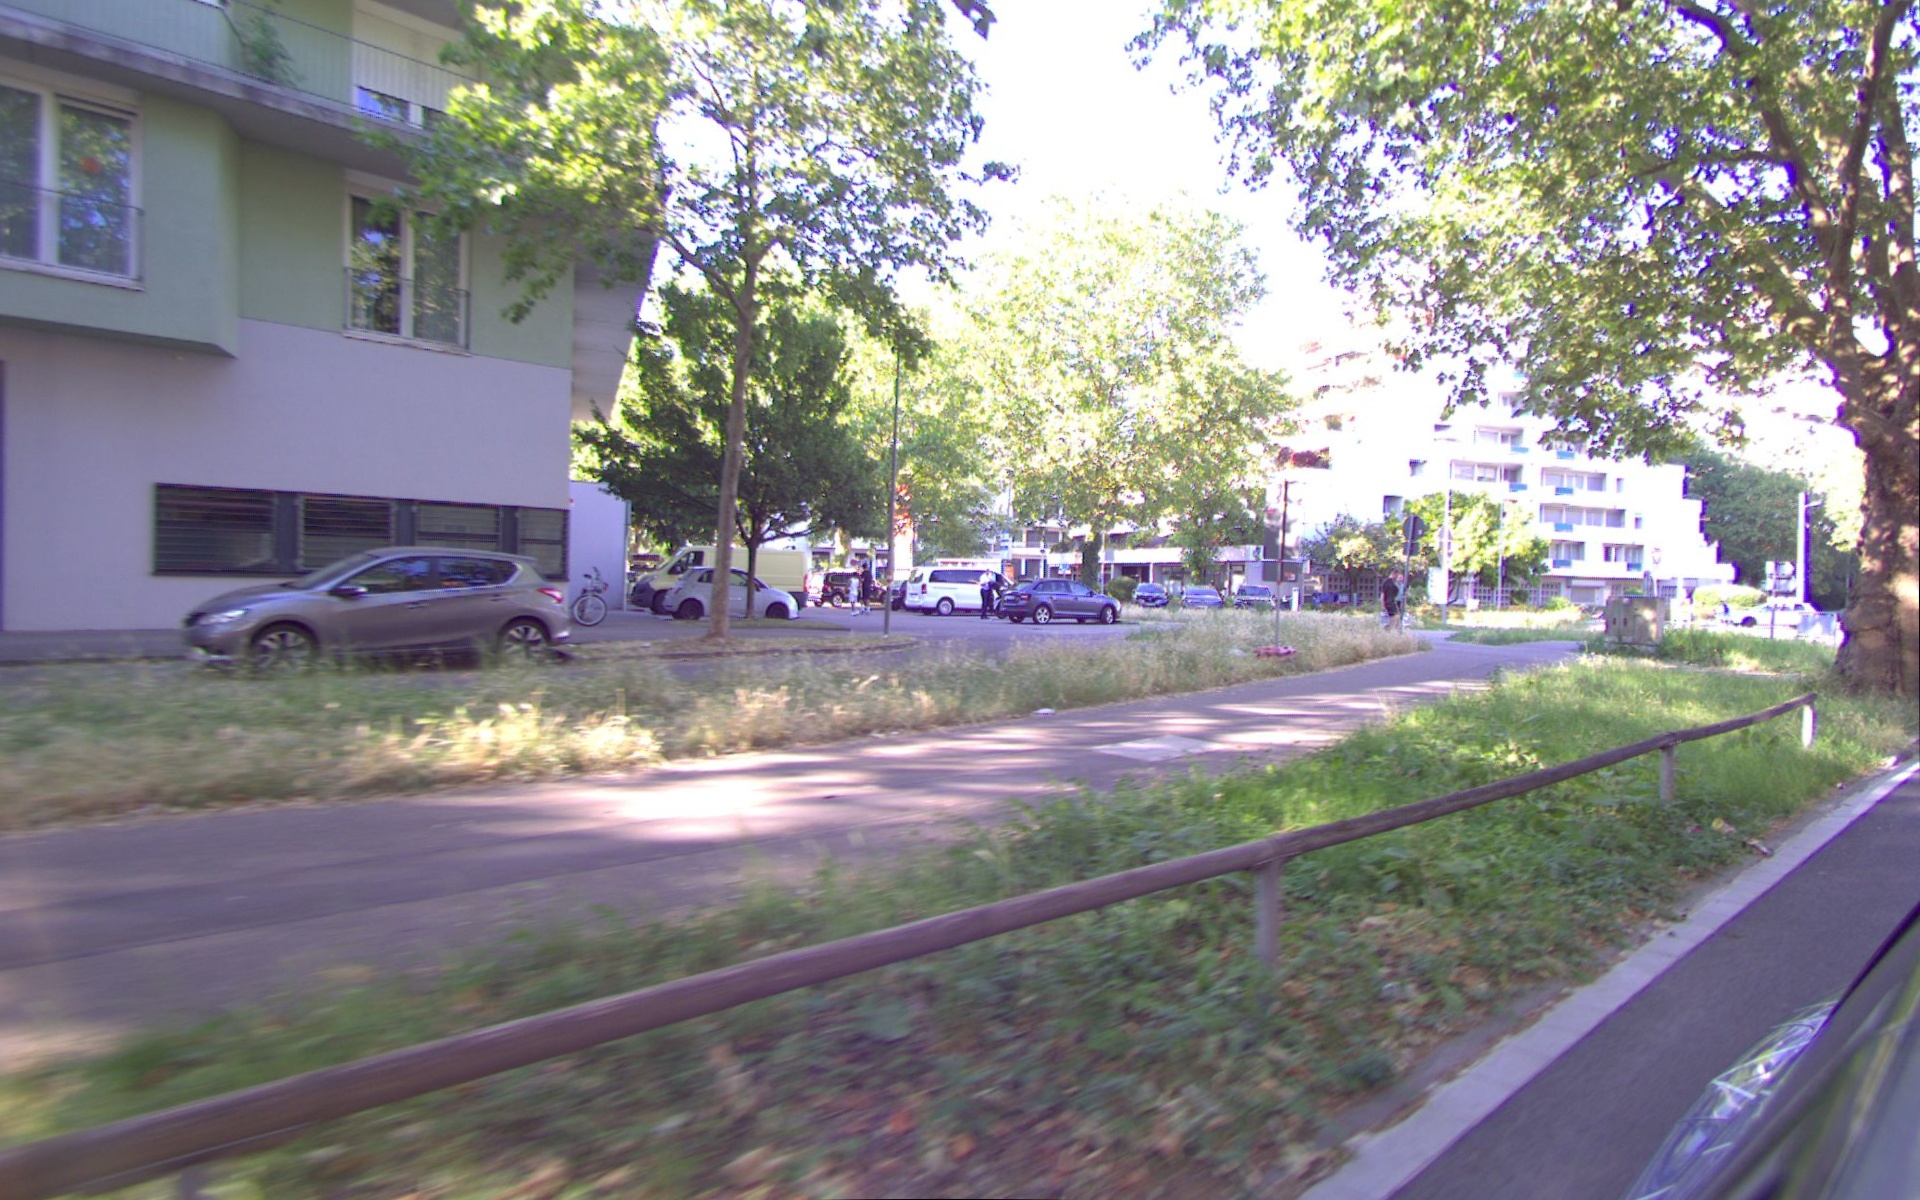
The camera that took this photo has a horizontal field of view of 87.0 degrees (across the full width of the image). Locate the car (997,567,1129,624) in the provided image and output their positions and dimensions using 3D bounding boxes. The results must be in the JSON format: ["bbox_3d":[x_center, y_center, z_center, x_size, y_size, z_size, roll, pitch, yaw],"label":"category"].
[{"bbox_3d":[3.329,-0.143,32.561,3.906,1.542,1.678,4,-1,-30],"label":"car"}]

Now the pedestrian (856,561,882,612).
[{"bbox_3d":[-3.305,-0.493,36.799,0.672,1.832,0.966,1,1,-21],"label":"pedestrian"}]

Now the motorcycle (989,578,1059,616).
[{"bbox_3d":[2.239,-0.101,35.305,2.269,1.263,0.953,1,1,-29],"label":"motorcycle"}]

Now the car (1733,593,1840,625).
[{"bbox_3d":[45.161,0.471,55.402,4.161,1.530,1.786,2,1,25],"label":"car"}]

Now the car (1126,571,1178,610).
[{"bbox_3d":[9.441,-0.424,49.508,1.850,1.659,3.972,4,-1,20],"label":"car"}]

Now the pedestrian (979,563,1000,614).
[{"bbox_3d":[1.042,-0.397,35.359,0.521,1.773,0.561,-1,1,-30],"label":"pedestrian"}]

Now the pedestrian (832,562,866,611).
[{"bbox_3d":[-3.972,-0.477,36.152,0.930,1.719,0.885,1,1,-23],"label":"pedestrian"}]

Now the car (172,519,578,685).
[{"bbox_3d":[-7.405,-0.007,13.052,4.245,1.793,1.908,0,2,-41],"label":"car"}]

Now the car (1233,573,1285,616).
[{"bbox_3d":[13.475,-0.210,45.832,1.910,1.680,4.458,4,0,14],"label":"car"}]

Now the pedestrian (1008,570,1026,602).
[{"bbox_3d":[3.095,-0.769,54.777,0.739,1.682,0.623,2,1,34],"label":"pedestrian"}]

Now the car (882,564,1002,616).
[{"bbox_3d":[-0.738,-0.418,42.664,4.537,1.798,2.005,4,-1,-25],"label":"car"}]

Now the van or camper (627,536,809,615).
[{"bbox_3d":[-7.658,-0.748,32.025,5.258,2.275,2.270,1,1,-23],"label":"van or camper"}]

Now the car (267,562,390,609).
[{"bbox_3d":[-29.233,-0.662,47.043,4.537,1.798,2.005,4,-1,-25],"label":"car"}]

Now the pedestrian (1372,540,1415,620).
[{"bbox_3d":[10.854,-0.497,25.332,0.833,1.956,0.773,2,1,34],"label":"pedestrian"}]

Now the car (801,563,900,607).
[{"bbox_3d":[-5.387,-0.740,50.155,1.996,1.798,4.557,4,-1,45],"label":"car"}]

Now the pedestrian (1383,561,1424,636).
[{"bbox_3d":[11.498,-0.045,26.252,0.781,1.903,0.793,2,1,37],"label":"pedestrian"}]

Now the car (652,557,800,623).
[{"bbox_3d":[-6.208,-0.258,26.870,3.484,1.473,1.679,4,-1,-25],"label":"car"}]

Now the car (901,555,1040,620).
[{"bbox_3d":[0.424,-0.482,39.576,4.946,2.123,2.005,4,-1,-25],"label":"car"}]

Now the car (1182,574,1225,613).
[{"bbox_3d":[11.479,-0.271,47.796,1.801,1.607,4.350,4,0,14],"label":"car"}]

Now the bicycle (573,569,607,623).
[{"bbox_3d":[-7.519,-0.105,20.519,0.576,1.030,1.684,1,1,-22],"label":"bicycle"}]
